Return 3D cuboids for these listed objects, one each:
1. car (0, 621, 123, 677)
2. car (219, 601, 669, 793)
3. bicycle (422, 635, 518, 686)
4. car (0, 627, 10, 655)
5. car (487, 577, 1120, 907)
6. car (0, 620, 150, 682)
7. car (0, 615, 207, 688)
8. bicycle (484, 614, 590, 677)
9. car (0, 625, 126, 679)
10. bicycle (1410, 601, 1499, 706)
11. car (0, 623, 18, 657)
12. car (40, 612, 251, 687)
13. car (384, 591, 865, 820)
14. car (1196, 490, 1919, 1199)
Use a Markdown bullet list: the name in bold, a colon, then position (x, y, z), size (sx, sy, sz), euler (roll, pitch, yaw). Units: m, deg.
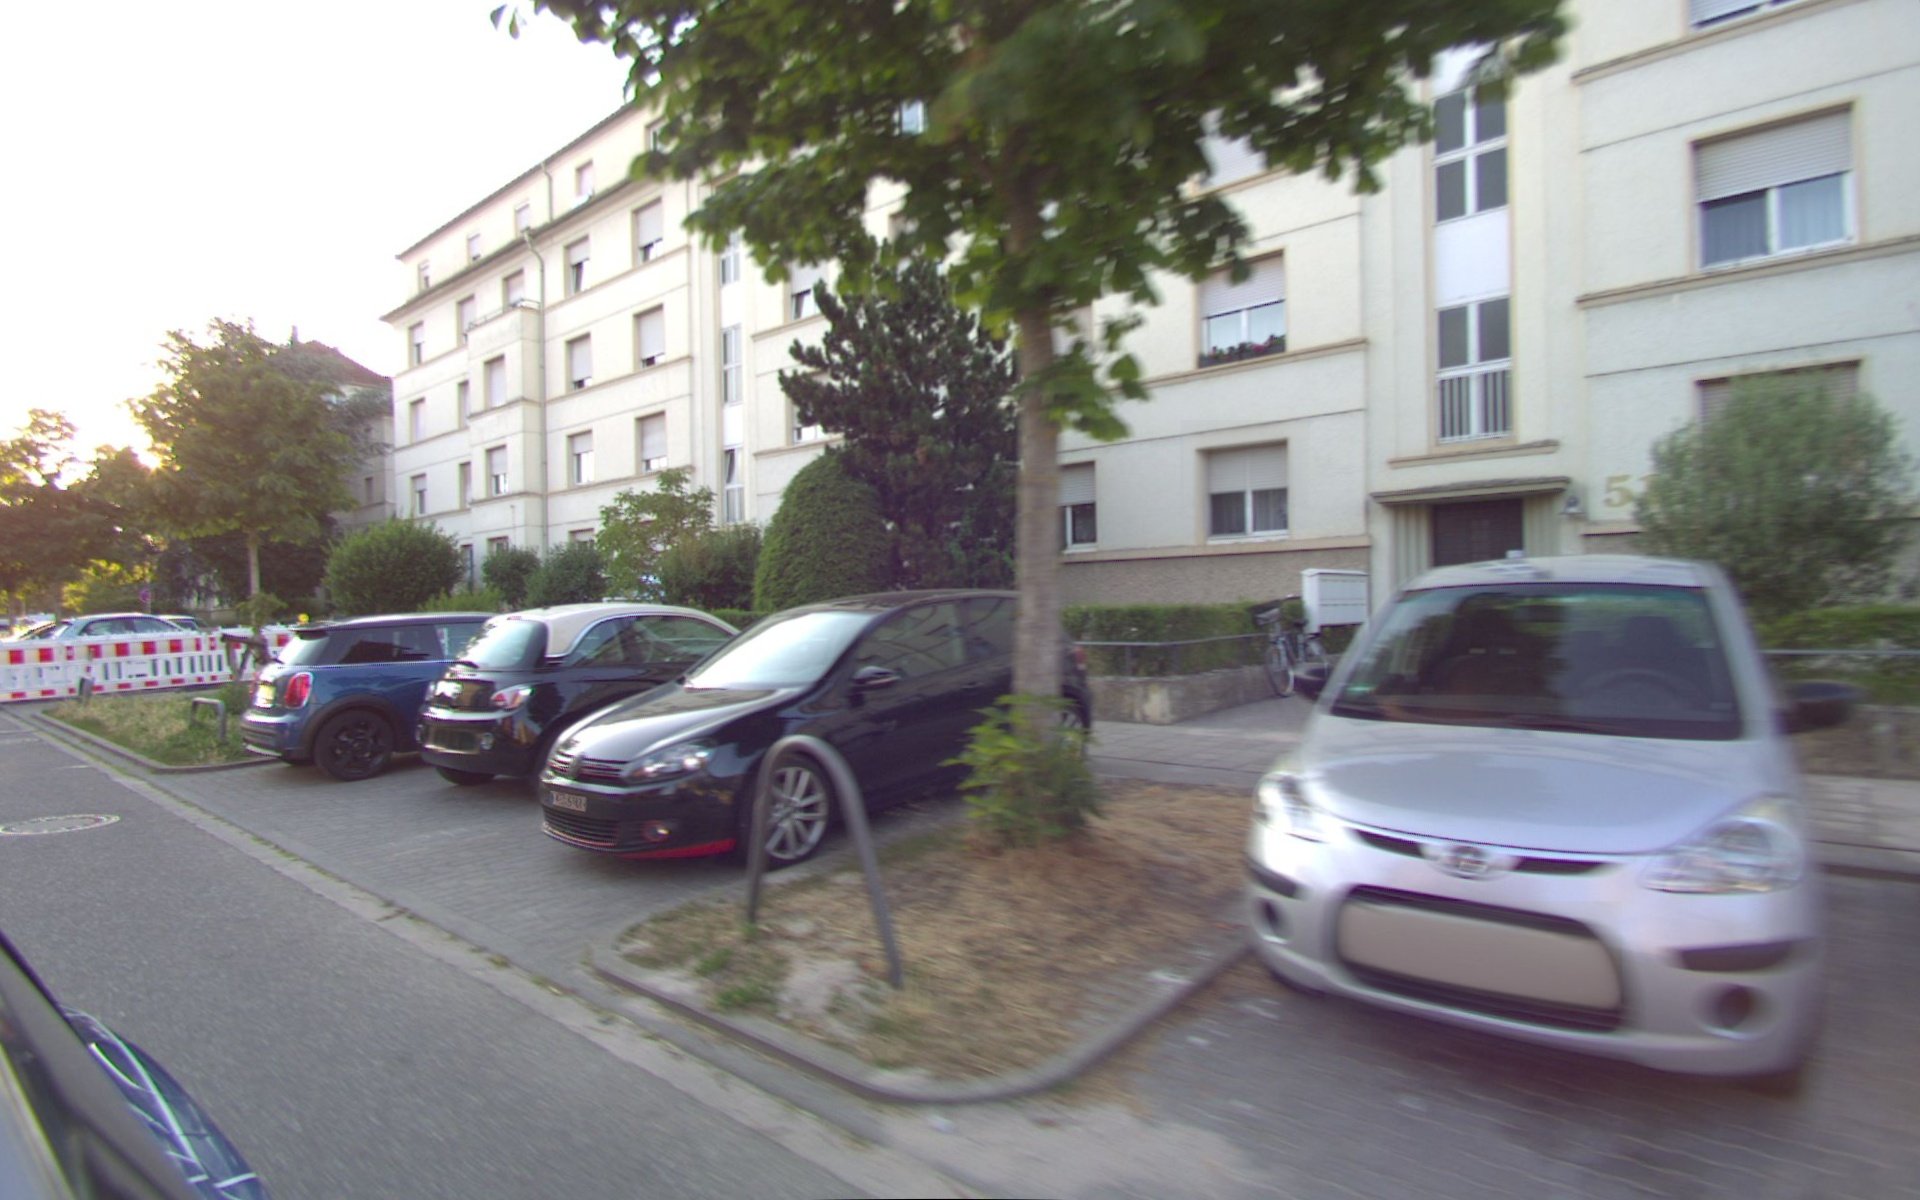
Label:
- **car**: position (-29.174, 1.565, 32.000), size (1.728, 1.553, 3.943), euler (-2, 1, 43)
- **car**: position (-5.013, 0.797, 10.167), size (1.728, 1.456, 3.638), euler (0, 1, 42)
- **bicycle**: position (-10.893, 1.333, 22.557), size (0.360, 0.999, 1.900), euler (-2, 0, 42)
- **car**: position (-60.555, 2.540, 61.534), size (4.073, 1.696, 2.002), euler (-1, -1, -44)
- **car**: position (-0.777, 0.632, 6.751), size (1.728, 1.500, 3.934), euler (0, 1, 43)
- **car**: position (-25.386, 1.408, 28.341), size (1.728, 1.495, 3.988), euler (-2, 1, 43)
- **car**: position (-21.763, 1.241, 25.213), size (1.723, 1.495, 4.472), euler (-2, 1, 32)
- **bicycle**: position (-8.934, 0.940, 21.461), size (0.540, 1.195, 2.007), euler (-2, 0, 42)
- **car**: position (-27.500, 1.546, 30.221), size (1.606, 1.395, 3.801), euler (-2, 1, 42)
- **bicycle**: position (5.274, 0.526, 10.737), size (0.363, 1.016, 1.912), euler (-2, -1, 41)
- **car**: position (-62.291, 2.577, 63.443), size (4.719, 2.085, 2.002), euler (-1, -1, -44)
- **car**: position (-19.551, 1.140, 24.392), size (1.726, 1.495, 3.663), euler (-2, 1, 39)
- **car**: position (-2.743, 0.724, 8.901), size (1.726, 1.495, 3.641), euler (-1, 1, 39)
- **car**: position (2.438, 0.517, 3.963), size (1.725, 1.578, 3.443), euler (-1, 1, 36)
